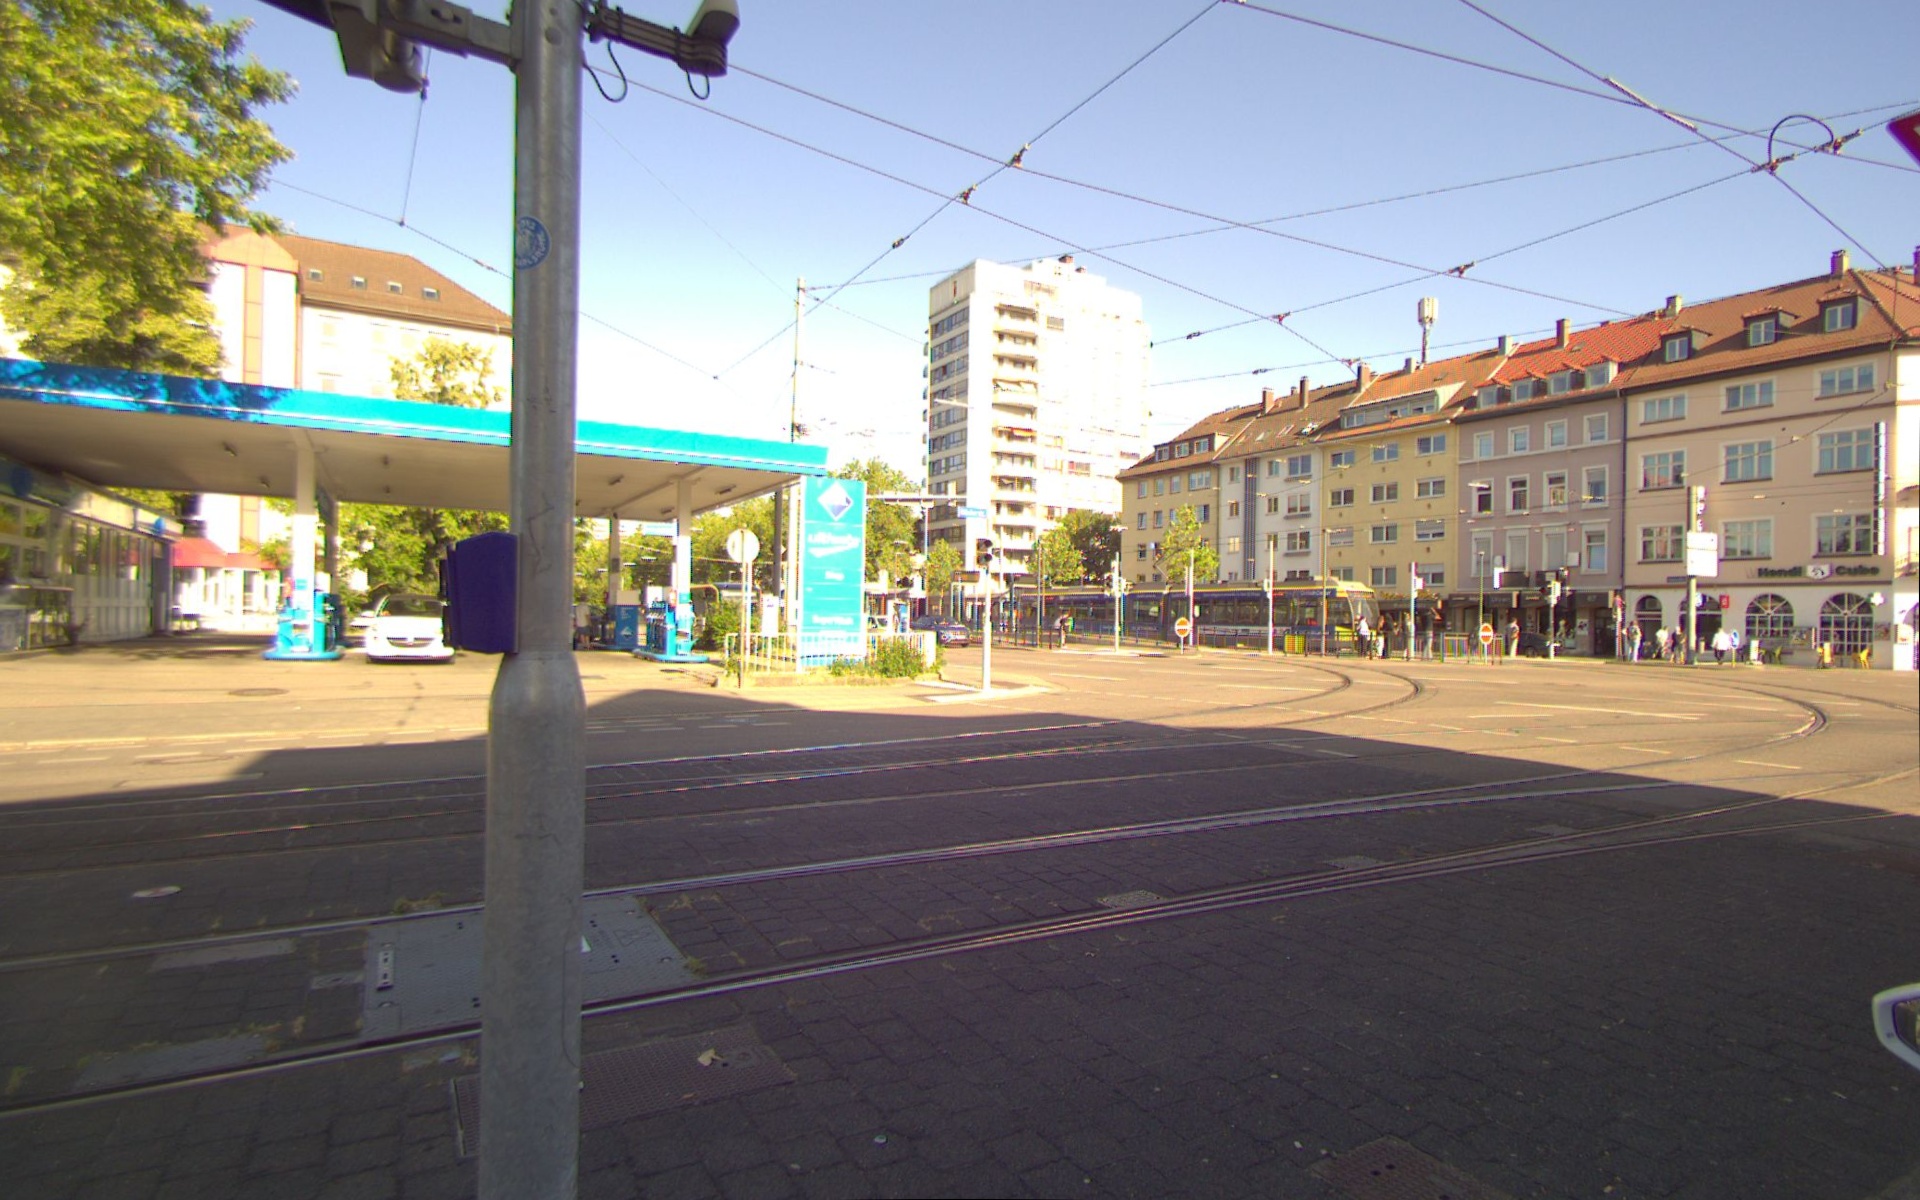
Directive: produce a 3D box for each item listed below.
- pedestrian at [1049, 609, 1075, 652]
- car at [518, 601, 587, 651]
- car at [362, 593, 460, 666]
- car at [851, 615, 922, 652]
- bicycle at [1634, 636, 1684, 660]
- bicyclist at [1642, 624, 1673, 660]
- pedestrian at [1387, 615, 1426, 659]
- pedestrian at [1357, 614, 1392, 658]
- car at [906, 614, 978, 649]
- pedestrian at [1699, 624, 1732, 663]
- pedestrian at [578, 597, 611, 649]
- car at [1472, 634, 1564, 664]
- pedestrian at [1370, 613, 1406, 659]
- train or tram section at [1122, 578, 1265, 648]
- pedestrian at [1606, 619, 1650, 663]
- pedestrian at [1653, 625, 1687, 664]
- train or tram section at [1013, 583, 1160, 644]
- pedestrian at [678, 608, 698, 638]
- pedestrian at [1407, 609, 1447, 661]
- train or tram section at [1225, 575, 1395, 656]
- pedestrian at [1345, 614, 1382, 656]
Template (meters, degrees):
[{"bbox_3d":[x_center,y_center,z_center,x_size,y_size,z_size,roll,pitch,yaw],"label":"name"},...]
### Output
[{"bbox_3d":[4.526,1.334,44.541,1.084,1.870,1.171,1,-1,8],"label":"pedestrian"},{"bbox_3d":[-13.451,0.837,33.019,1.725,1.431,4.061,5,-2,-26],"label":"car"},{"bbox_3d":[-12.333,0.631,22.542,1.760,1.483,3.968,1,-1,-30],"label":"car"},{"bbox_3d":[-3.477,1.527,46.740,1.863,1.601,3.971,1,-1,-28],"label":"car"},{"bbox_3d":[36.279,2.473,52.135,0.623,1.197,2.081,1,-1,-29],"label":"bicycle"},{"bbox_3d":[36.313,2.186,52.304,0.740,1.798,1.159,1,-1,-31],"label":"bicyclist"},{"bbox_3d":[16.607,1.369,37.362,0.924,1.619,1.008,1,-1,-9],"label":"pedestrian"},{"bbox_3d":[15.563,1.338,37.748,0.922,1.619,1.010,1,-1,3],"label":"pedestrian"},{"bbox_3d":[-0.908,1.491,48.291,1.863,1.601,3.971,1,-1,-28],"label":"car"},{"bbox_3d":[35.481,2.030,47.179,0.990,1.798,0.941,1,-1,21],"label":"pedestrian"},{"bbox_3d":[-11.718,0.739,32.199,0.803,1.647,1.154,1,-1,-30],"label":"pedestrian"},{"bbox_3d":[30.427,2.636,54.910,1.977,1.472,3.966,1,-1,-31],"label":"car"},{"bbox_3d":[15.597,1.301,36.641,0.922,1.619,1.010,1,-1,3],"label":"pedestrian"},{"bbox_3d":[12.646,0.722,55.298,2.789,3.546,8.398,1,-1,-29],"label":"train or tram section"},{"bbox_3d":[26.646,1.614,40.072,1.091,1.707,1.075,1,-1,-30],"label":"pedestrian"},{"bbox_3d":[34.071,2.127,48.207,0.926,1.798,1.006,1,-1,-15],"label":"pedestrian"},{"bbox_3d":[7.749,0.856,64.105,2.746,3.546,11.935,1,-1,-30],"label":"train or tram section"},{"bbox_3d":[-14.635,1.254,54.044,0.907,1.595,0.959,1,-1,-22],"label":"pedestrian"},{"bbox_3d":[16.697,1.250,35.898,0.923,1.798,1.009,1,-1,-3],"label":"pedestrian"},{"bbox_3d":[16.576,0.722,48.206,2.790,3.546,7.901,1,-1,-29],"label":"train or tram section"},{"bbox_3d":[15.746,1.353,39.255,0.925,1.619,1.007,1,-1,-13],"label":"pedestrian"}]
